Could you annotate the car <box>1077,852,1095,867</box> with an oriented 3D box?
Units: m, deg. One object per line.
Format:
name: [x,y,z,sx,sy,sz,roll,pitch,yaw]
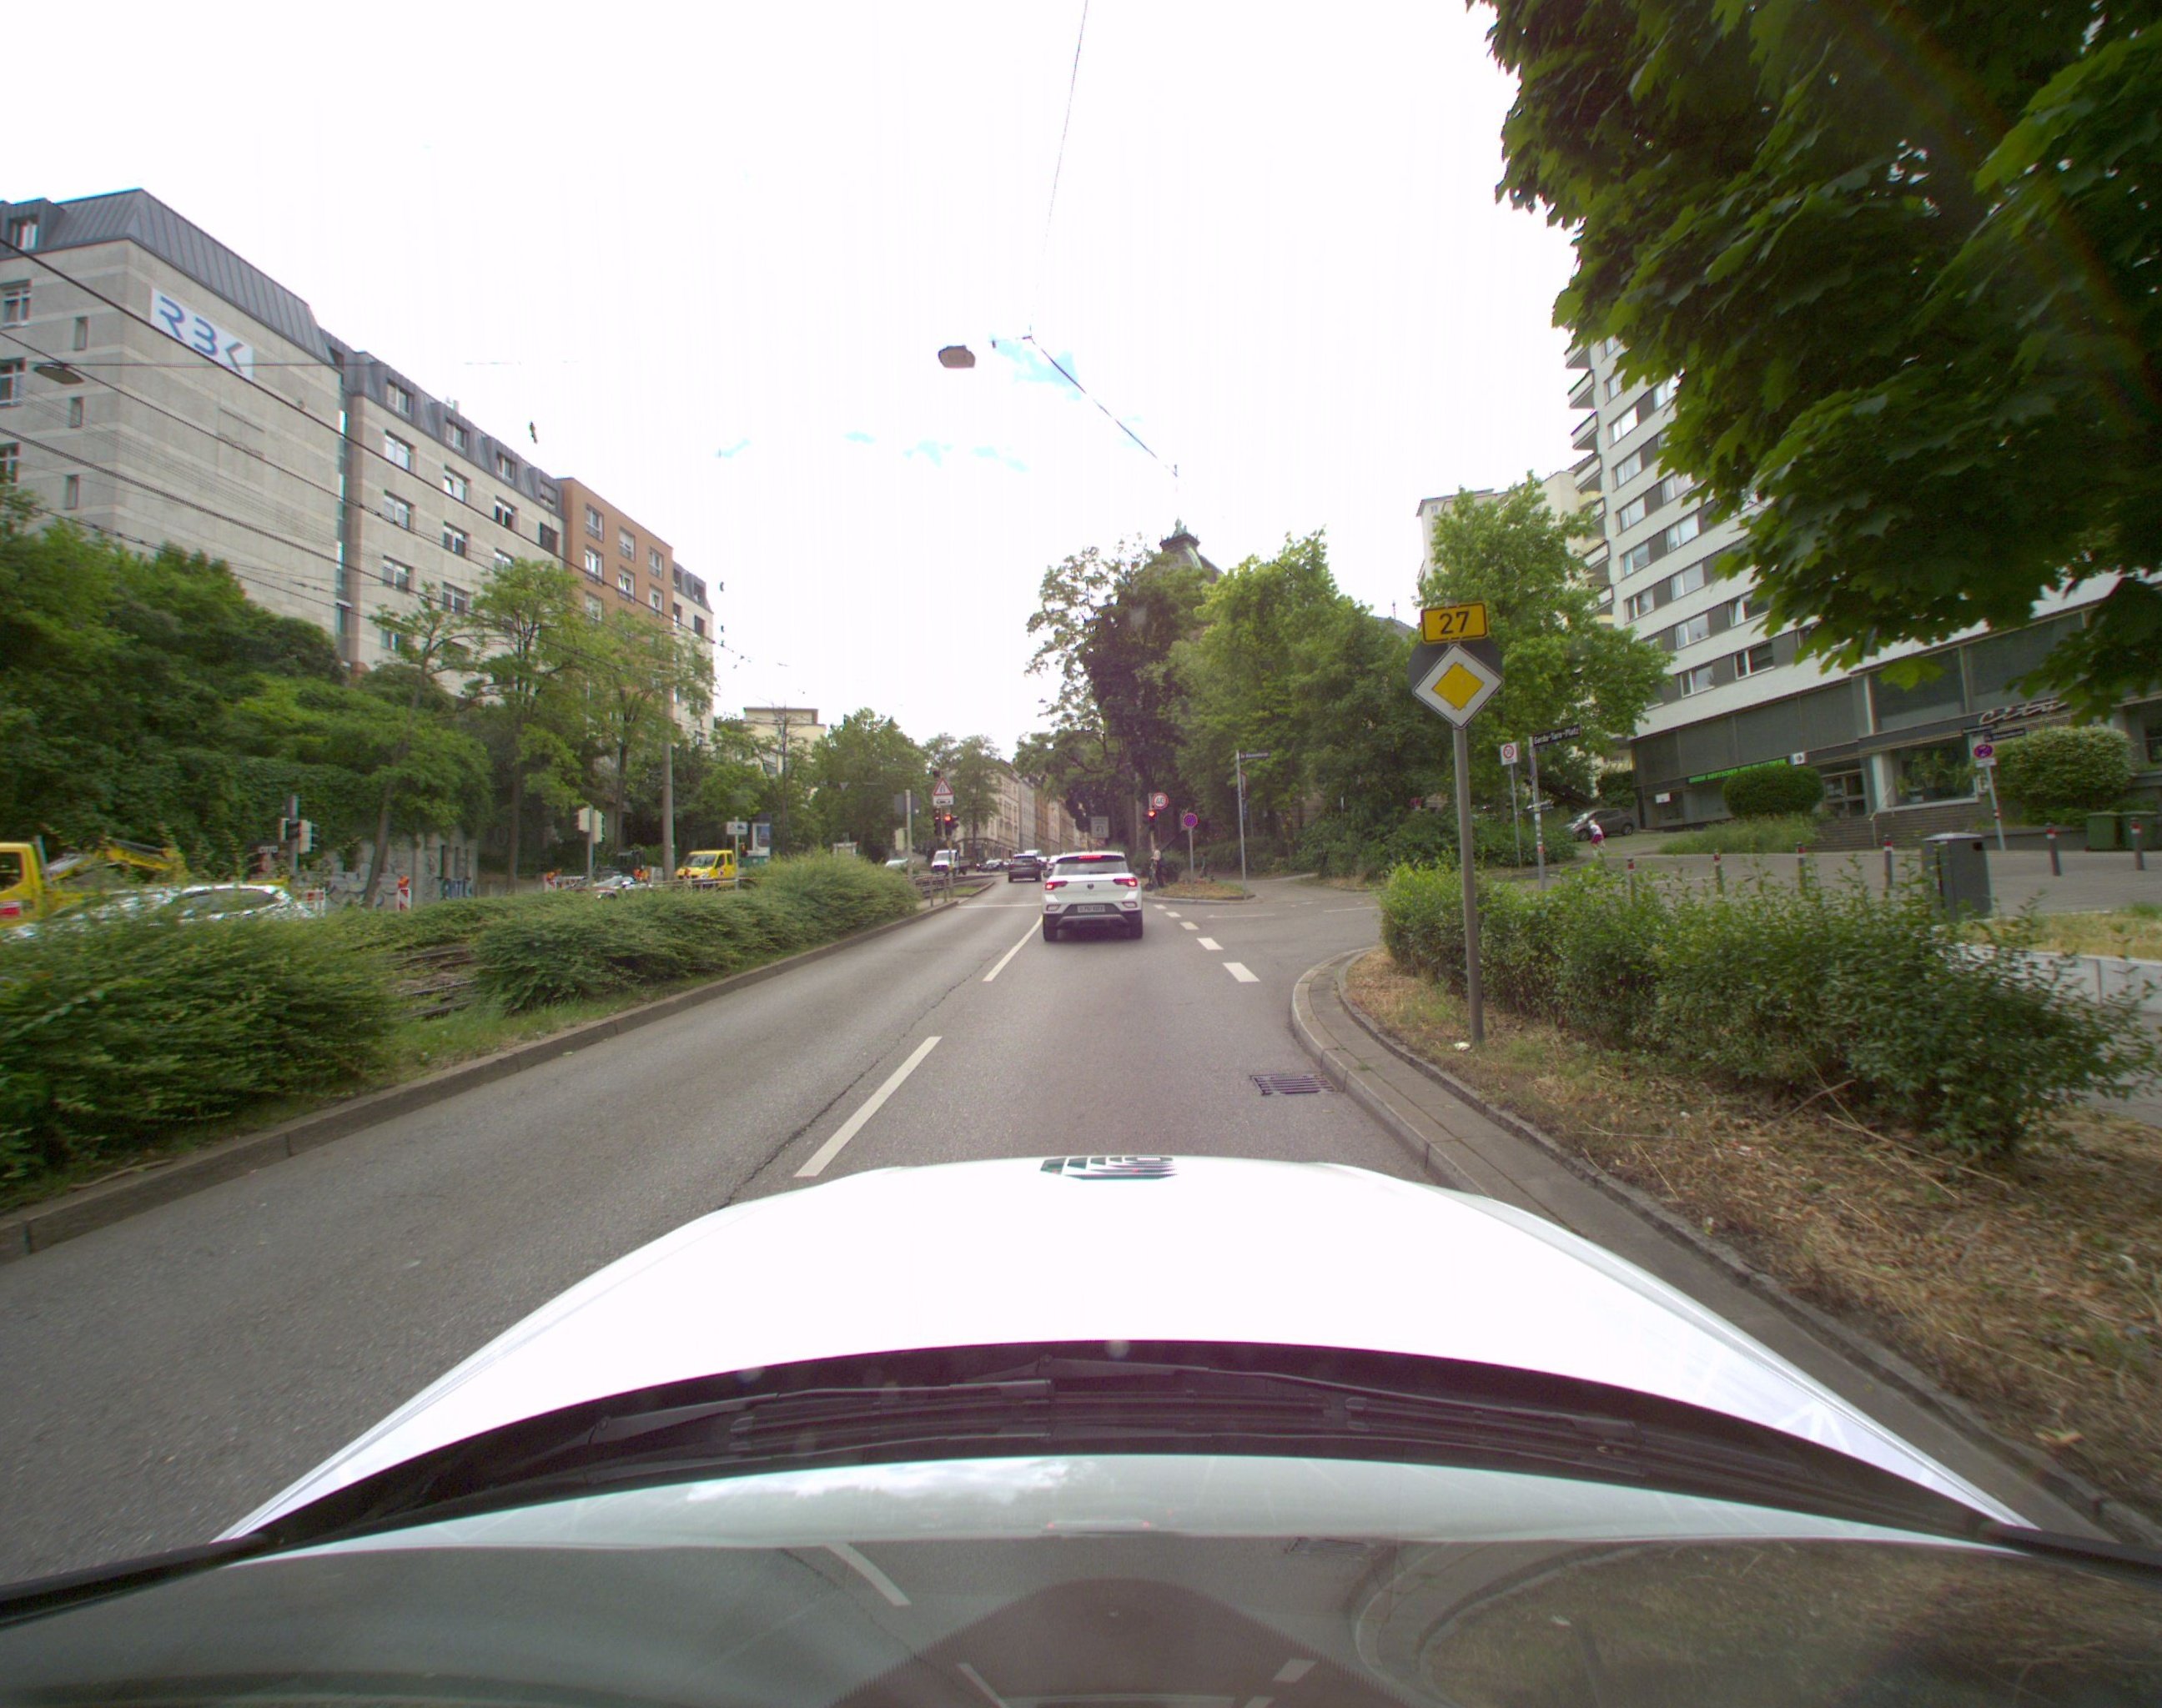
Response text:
car: [0.852,0.834,125.900,2.412,2.169,6.037,-3,0,2]

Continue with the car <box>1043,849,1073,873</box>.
car: [-1.726,0.523,61.772,1.986,1.623,4.001,-3,0,1]

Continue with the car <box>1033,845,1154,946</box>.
car: [0.174,0.674,15.667,1.933,1.566,4.044,-3,1,-1]

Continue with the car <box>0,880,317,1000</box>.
car: [-14.940,1.242,12.981,1.735,1.487,4.063,-1,0,-2]

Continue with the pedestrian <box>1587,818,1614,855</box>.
pedestrian: [21.602,-0.720,33.860,0.560,1.500,0.672,-2,-1,-24]

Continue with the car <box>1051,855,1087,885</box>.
car: [-0.715,0.927,45.982,1.898,1.574,3.830,1,-3,-3]

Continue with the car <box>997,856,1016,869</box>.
car: [-9.882,1.140,108.726,1.986,1.623,4.001,1,-3,2]

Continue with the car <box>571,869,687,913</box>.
car: [-15.690,1.247,28.521,1.734,1.322,4.066,-2,-1,1]

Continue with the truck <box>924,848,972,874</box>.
truck: [-11.689,0.617,71.900,2.408,2.169,6.048,1,0,9]

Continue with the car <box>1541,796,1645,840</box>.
car: [26.300,-1.831,41.942,4.124,2.013,1.996,-3,0,-6]

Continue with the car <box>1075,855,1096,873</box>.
car: [0.613,1.211,104.472,2.412,2.169,6.037,-3,0,2]

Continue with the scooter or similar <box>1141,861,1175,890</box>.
scooter or similar: [2.825,0.784,29.914,1.183,0.994,0.531,-3,0,1]

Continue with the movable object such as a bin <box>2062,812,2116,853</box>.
movable object such as a bin: [28.066,-0.595,22.683,0.825,1.103,0.709,-2,-1,-22]

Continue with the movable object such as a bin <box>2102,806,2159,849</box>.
movable object such as a bin: [28.420,-0.721,22.053,0.825,1.103,0.709,-2,-1,-22]

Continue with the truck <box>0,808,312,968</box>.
truck: [-18.717,0.672,14.958,2.914,2.510,7.135,-1,-3,-7]

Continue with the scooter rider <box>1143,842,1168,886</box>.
scooter rider: [2.728,0.362,29.904,0.775,1.558,0.532,-3,0,1]

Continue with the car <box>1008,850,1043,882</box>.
car: [-3.313,0.699,48.921,1.834,1.739,3.999,-2,1,-1]

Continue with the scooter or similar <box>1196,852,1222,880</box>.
scooter or similar: [5.145,0.489,32.798,0.475,1.100,1.361,-3,0,-15]

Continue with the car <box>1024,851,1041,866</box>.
car: [-6.830,0.645,114.797,1.986,2.013,4.002,-3,0,2]

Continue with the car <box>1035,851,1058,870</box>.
car: [-3.201,0.611,76.068,1.820,1.757,3.781,1,0,2]

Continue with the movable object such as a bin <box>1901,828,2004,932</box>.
movable object such as a bin: [9.687,0.280,9.067,0.492,1.094,0.565,-3,-1,2]

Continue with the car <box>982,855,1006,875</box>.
car: [-9.468,1.216,88.803,1.986,2.014,4.001,1,-3,2]

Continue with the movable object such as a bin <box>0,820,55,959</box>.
movable object such as a bin: [-23.181,0.757,16.551,1.990,2.838,2.026,-2,-1,-4]
